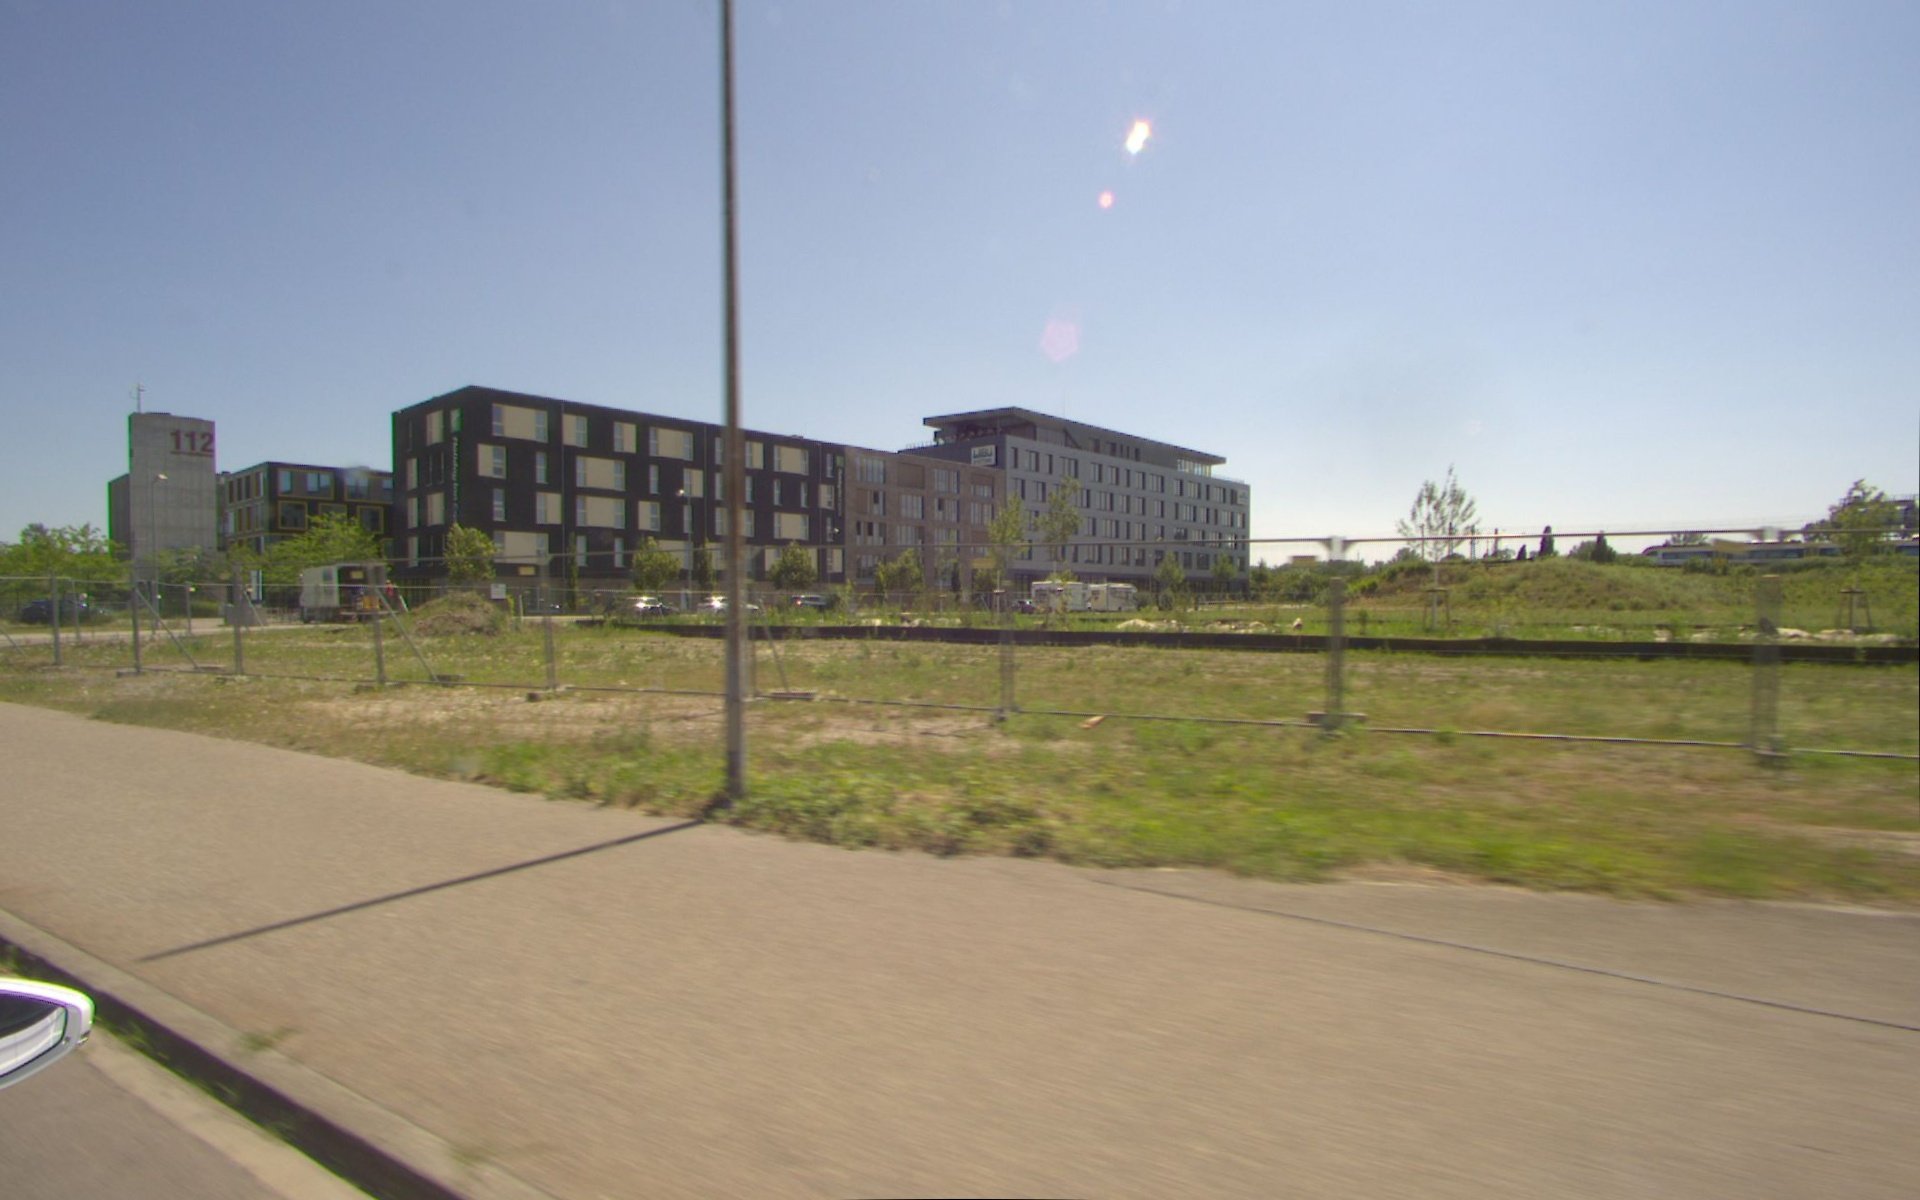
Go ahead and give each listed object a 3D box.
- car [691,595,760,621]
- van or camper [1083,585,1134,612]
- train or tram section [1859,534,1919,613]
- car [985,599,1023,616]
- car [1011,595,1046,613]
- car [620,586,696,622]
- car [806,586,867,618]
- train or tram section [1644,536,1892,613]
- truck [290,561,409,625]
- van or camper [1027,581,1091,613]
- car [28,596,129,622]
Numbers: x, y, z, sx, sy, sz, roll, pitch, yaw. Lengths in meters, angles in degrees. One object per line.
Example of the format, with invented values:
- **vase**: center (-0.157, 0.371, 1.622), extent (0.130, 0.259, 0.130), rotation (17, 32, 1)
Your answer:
- **car**: center (-14.758, 0.510, 63.179), extent (1.729, 1.578, 4.010), rotation (0, 0, 42)
- **van or camper**: center (14.388, -0.108, 96.853), extent (2.376, 2.568, 5.393), rotation (0, 0, 40)
- **train or tram section**: center (138.091, -3.431, 120.104), extent (9.502, 10.057, 44.359), rotation (0, 0, -43)
- **car**: center (4.377, 0.739, 100.733), extent (3.613, 1.722, 1.606), rotation (0, 1, 40)
- **car**: center (6.932, 0.427, 101.130), extent (1.773, 1.742, 3.395), rotation (-1, -2, 41)
- **car**: center (-17.757, 0.224, 58.877), extent (3.879, 2.040, 1.861), rotation (0, 0, -45)
- **car**: center (-8.378, 0.171, 67.954), extent (1.860, 2.039, 3.884), rotation (-1, -2, 42)
- **train or tram section**: center (115.812, -3.346, 144.576), extent (9.501, 10.057, 26.753), rotation (0, 0, -42)
- **truck**: center (-37.086, -0.401, 60.547), extent (12.009, 3.509, 2.990), rotation (0, 2, 44)
- **van or camper**: center (8.968, -0.249, 90.619), extent (2.537, 2.813, 6.372), rotation (0, 0, 42)
- **car**: center (-54.522, 0.536, 61.975), extent (2.008, 1.582, 4.473), rotation (0, 0, 40)
